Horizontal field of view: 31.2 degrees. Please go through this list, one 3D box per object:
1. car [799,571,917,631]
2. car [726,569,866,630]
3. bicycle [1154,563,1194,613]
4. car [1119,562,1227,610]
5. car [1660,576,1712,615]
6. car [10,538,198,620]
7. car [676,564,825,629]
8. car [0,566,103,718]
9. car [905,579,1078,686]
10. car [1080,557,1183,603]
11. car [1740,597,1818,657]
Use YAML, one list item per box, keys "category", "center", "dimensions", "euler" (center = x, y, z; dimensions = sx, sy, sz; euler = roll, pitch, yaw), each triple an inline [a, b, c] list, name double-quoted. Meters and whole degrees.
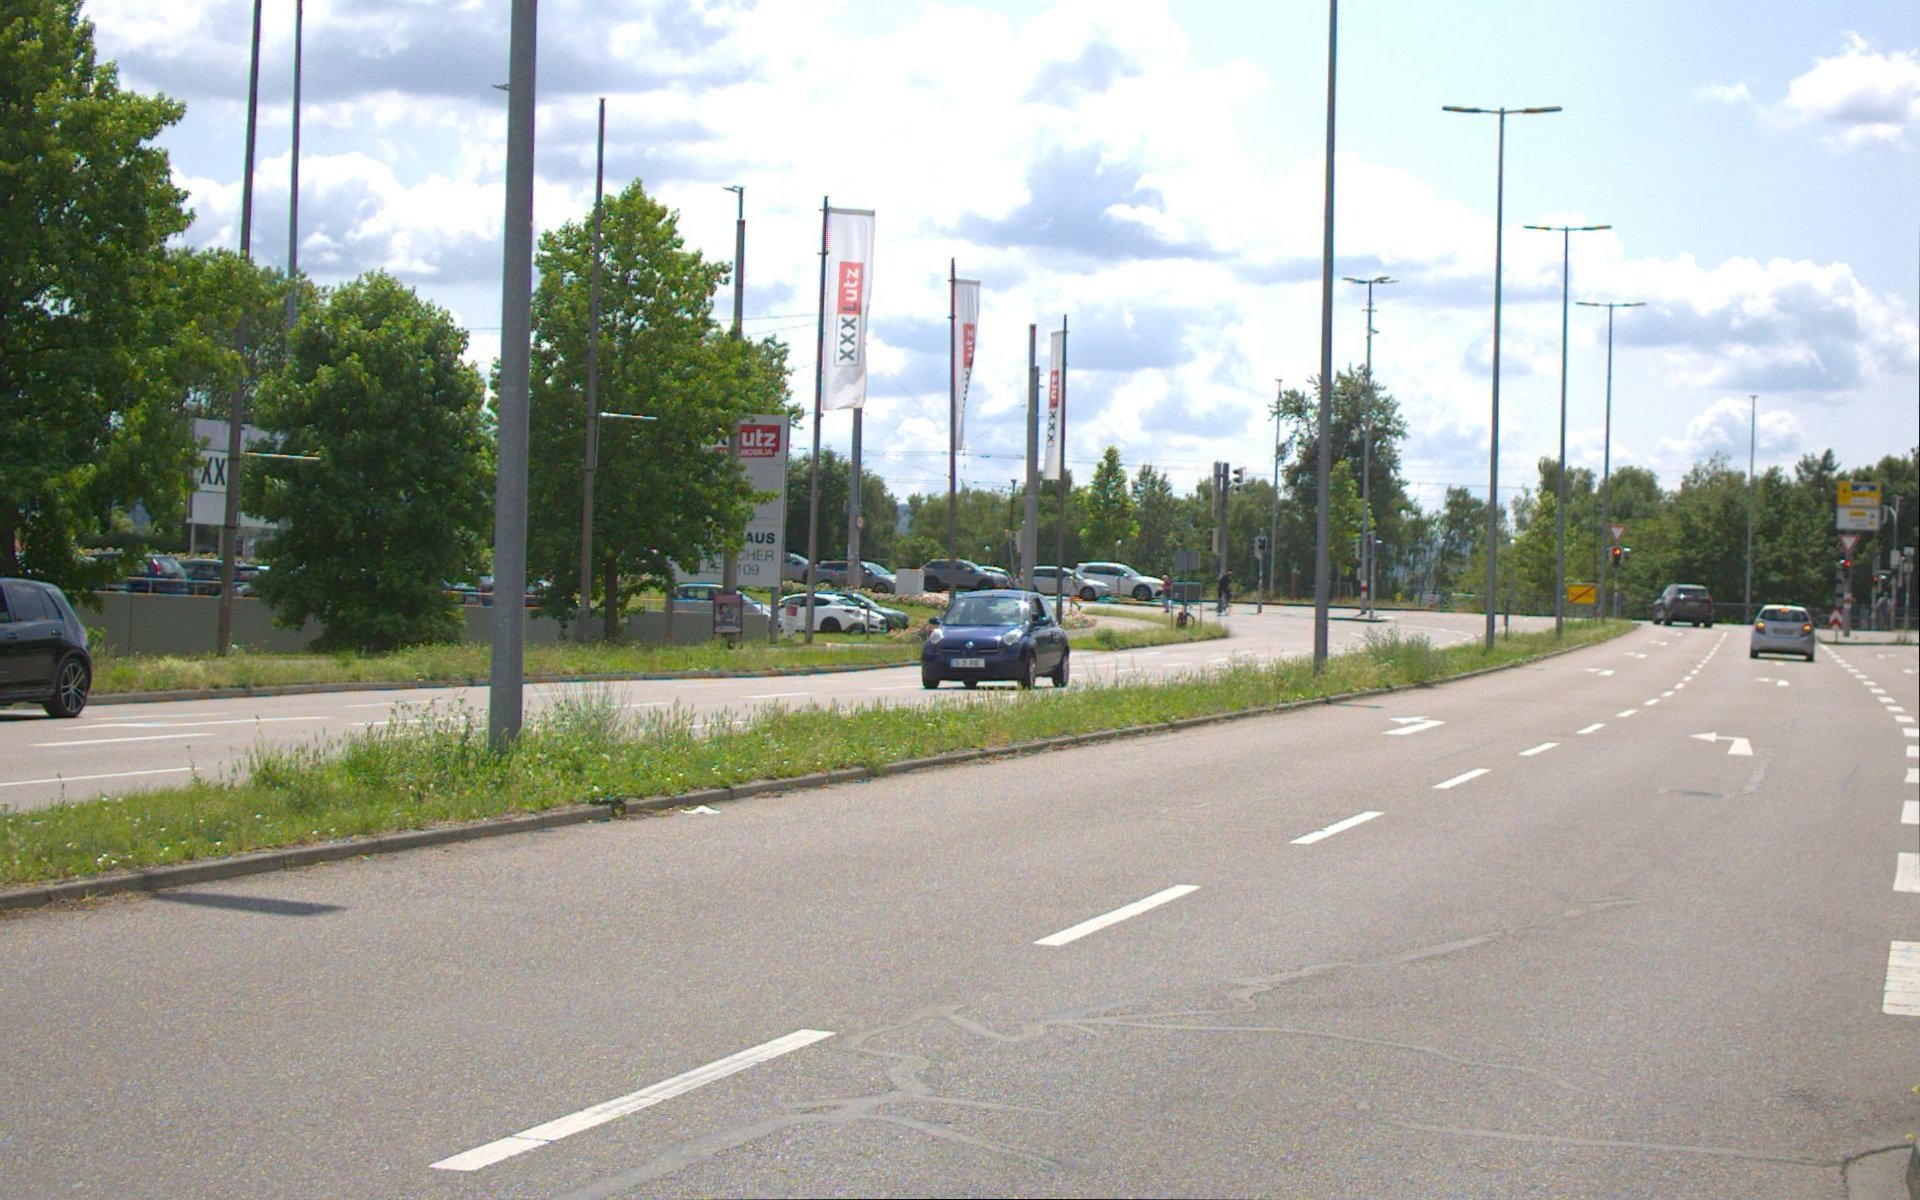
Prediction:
- category: "car"
  center: [-3.584, 0.030, 121.666]
  dimensions: [3.987, 2.007, 2.000]
  euler: [1, 0, 3]
- category: "car"
  center: [-5.607, -0.035, 117.733]
  dimensions: [4.351, 1.982, 1.999]
  euler: [1, 0, 13]
- category: "bicycle"
  center: [7.272, -0.398, 116.817]
  dimensions: [1.018, 1.670, 2.047]
  euler: [1, 0, 13]
- category: "car"
  center: [9.209, -0.601, 148.656]
  dimensions: [4.351, 1.982, 1.999]
  euler: [1, 0, 13]
- category: "car"
  center: [30.721, -0.198, 145.464]
  dimensions: [1.895, 1.464, 3.832]
  euler: [3, 1, 9]
- category: "car"
  center: [-22.718, -0.553, 91.282]
  dimensions: [4.351, 1.982, 1.999]
  euler: [2, 0, 13]
- category: "car"
  center: [-6.732, -0.111, 110.562]
  dimensions: [4.351, 1.982, 1.999]
  euler: [1, 0, 13]
- category: "car"
  center: [-10.146, 0.402, 33.478]
  dimensions: [1.620, 1.465, 4.113]
  euler: [1, 1, 17]
- category: "car"
  center: [0.524, 0.472, 53.001]
  dimensions: [1.740, 1.470, 3.674]
  euler: [1, 2, 16]
- category: "car"
  center: [7.800, -0.891, 156.195]
  dimensions: [4.351, 1.982, 1.999]
  euler: [1, 0, 13]
- category: "car"
  center: [22.629, 0.728, 95.092]
  dimensions: [1.895, 1.464, 3.831]
  euler: [3, 1, 12]
